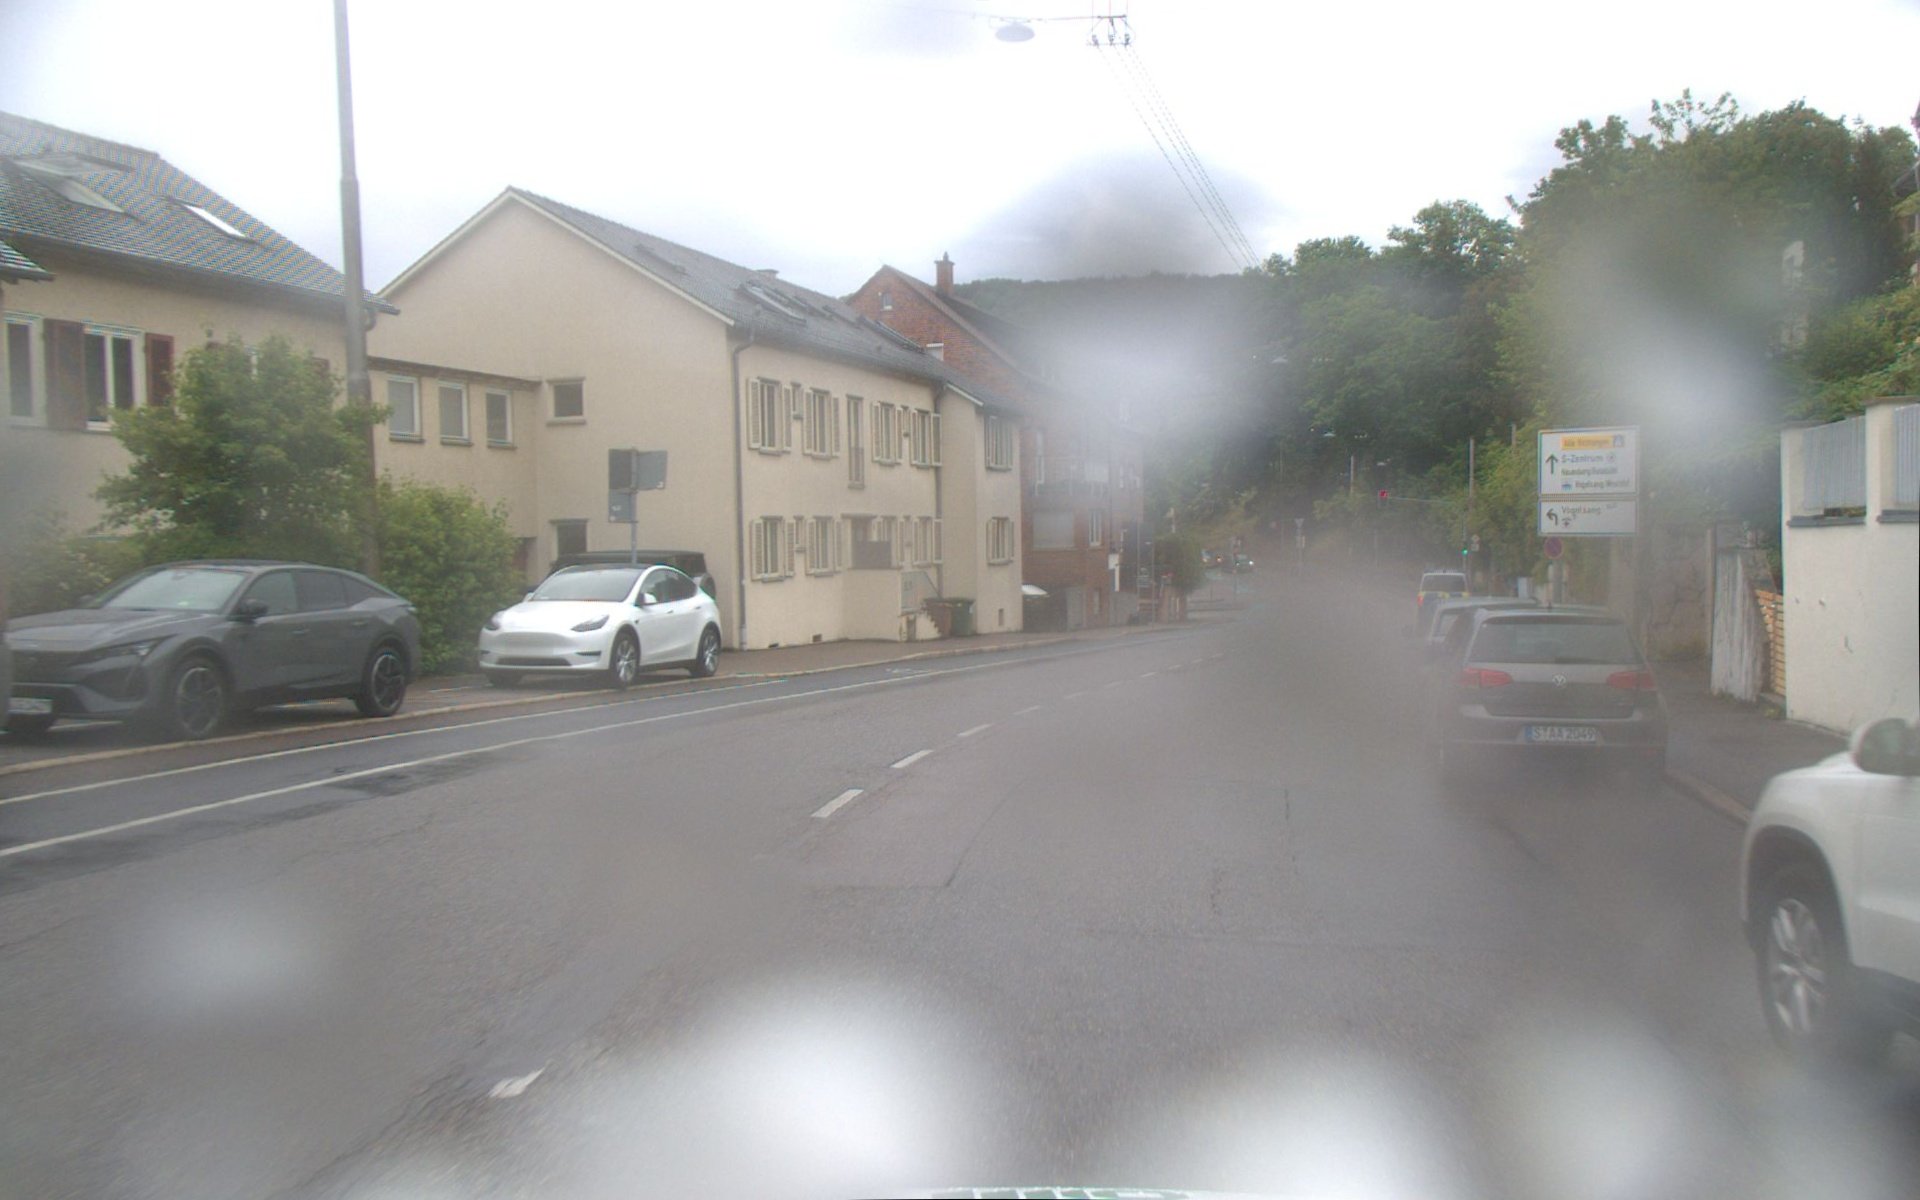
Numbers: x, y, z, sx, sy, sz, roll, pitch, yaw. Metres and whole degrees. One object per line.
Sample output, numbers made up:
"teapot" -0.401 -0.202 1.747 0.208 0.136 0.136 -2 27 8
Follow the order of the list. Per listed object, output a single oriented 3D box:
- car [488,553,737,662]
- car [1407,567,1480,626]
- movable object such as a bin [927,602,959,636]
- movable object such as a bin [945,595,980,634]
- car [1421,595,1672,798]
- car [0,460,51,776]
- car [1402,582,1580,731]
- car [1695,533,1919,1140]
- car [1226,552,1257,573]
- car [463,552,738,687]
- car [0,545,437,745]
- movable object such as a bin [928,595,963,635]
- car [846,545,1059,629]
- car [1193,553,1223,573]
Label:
"car" -6.812 0.126 32.549 4.392 2.048 1.890 0 1 14
"car" 17.376 -0.131 59.301 2.260 1.973 4.326 1 0 19
"movable object such as a bin" -0.459 0.495 44.021 0.659 0.874 0.709 1 0 17
"movable object such as a bin" 0.074 0.400 45.713 0.765 1.065 0.738 1 0 17
"car" 5.021 0.716 14.636 1.606 1.461 4.177 1 1 13
"car" -7.580 0.110 9.171 1.809 2.115 5.024 1 0 7
"car" 6.129 0.580 19.513 1.751 1.522 4.709 1 0 15
"car" 3.507 0.657 4.091 1.765 1.678 4.212 0 0 4
"car" 22.590 -3.019 132.998 1.706 1.577 4.000 -3 1 0
"car" -4.840 0.244 23.046 1.888 1.659 4.681 1 0 13
"car" -6.727 0.331 14.946 1.769 1.502 4.526 1 0 12
"movable object such as a bin" -0.389 0.393 45.006 0.765 1.065 0.709 1 0 17
"car" -0.251 -0.423 53.420 6.514 2.598 2.168 0 -1 18
"car" 20.887 -3.123 139.312 1.706 1.577 3.999 -2 2 -2
